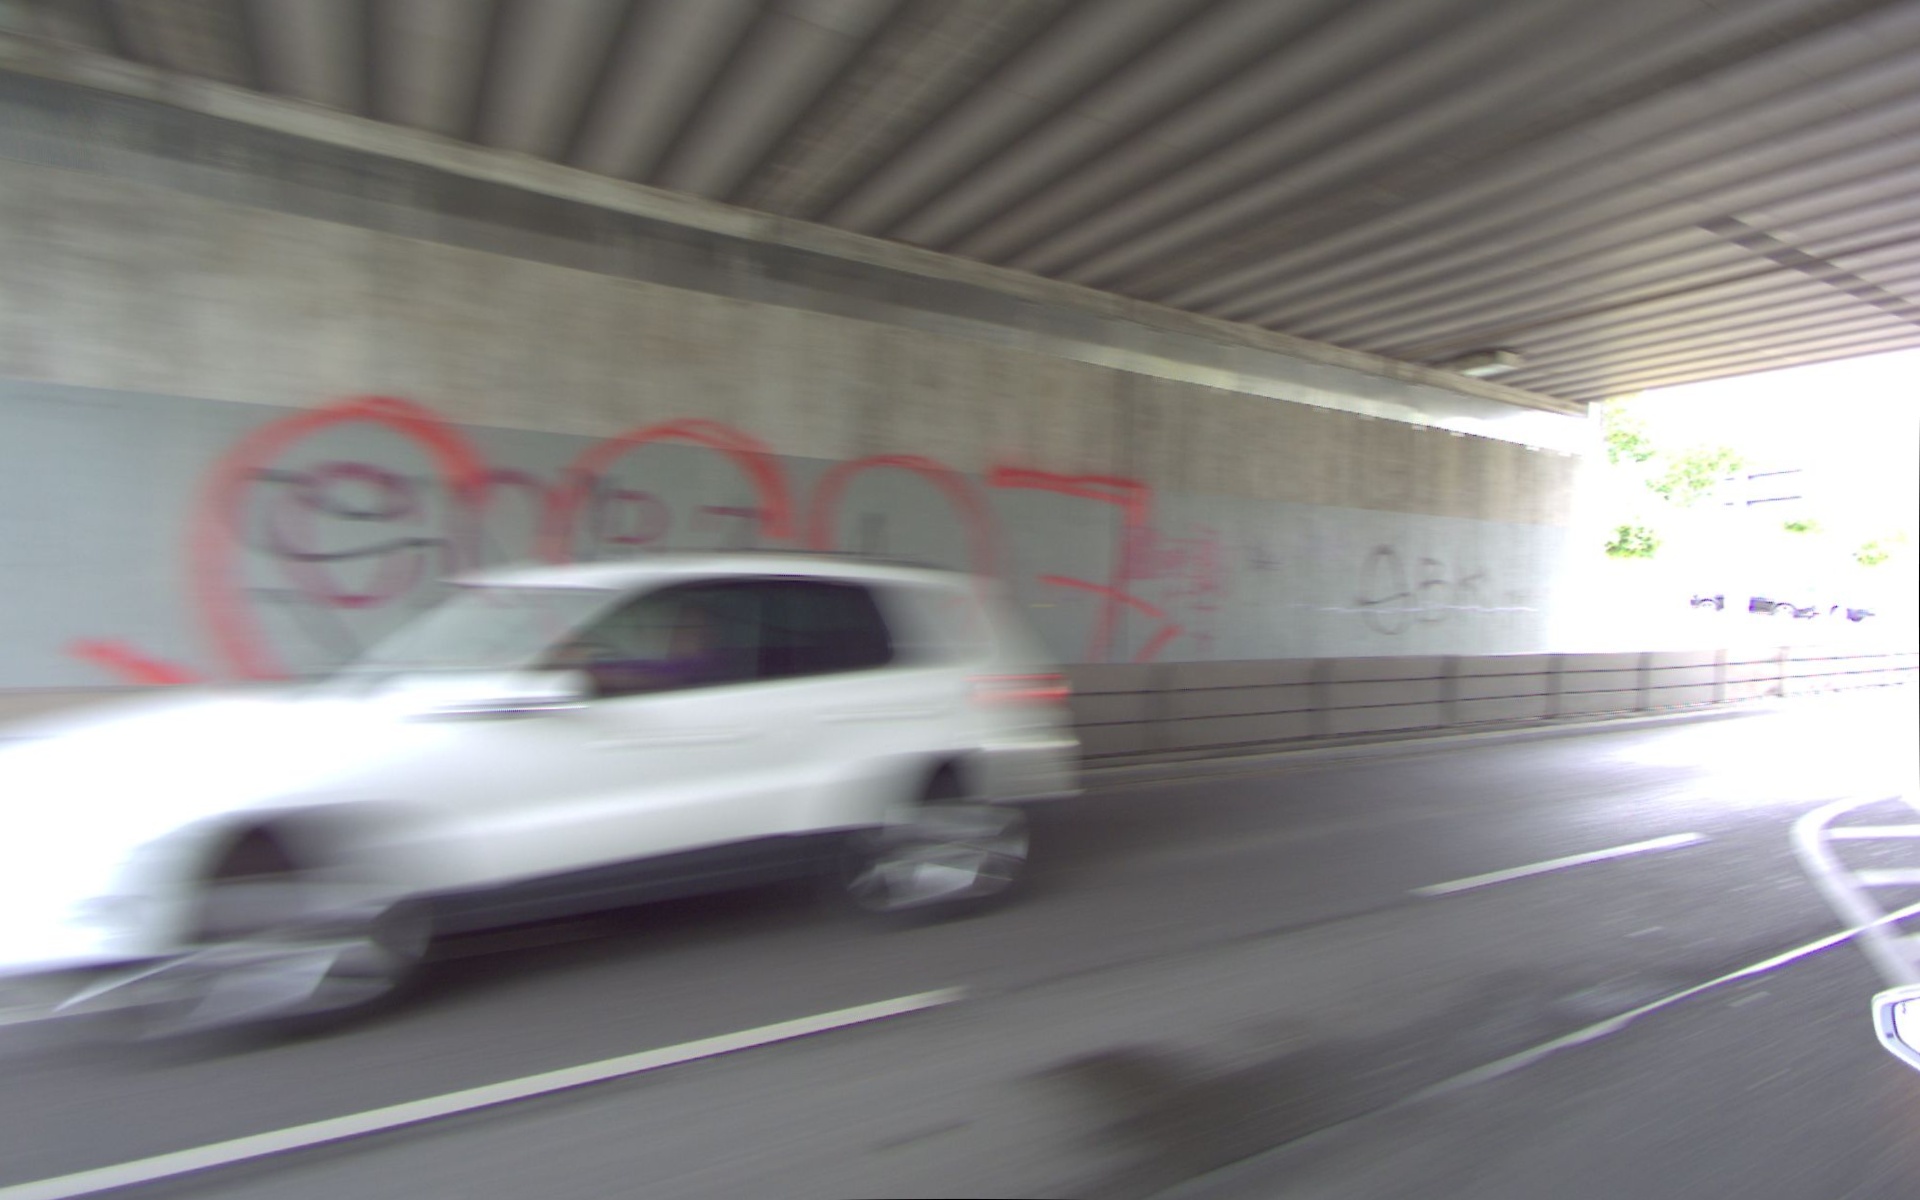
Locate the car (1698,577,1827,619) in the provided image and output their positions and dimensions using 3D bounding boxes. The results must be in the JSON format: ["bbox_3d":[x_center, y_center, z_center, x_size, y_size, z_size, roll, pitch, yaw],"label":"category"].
[{"bbox_3d":[34.919,-0.118,43.831,1.847,1.617,3.973,0,2,-26],"label":"car"}]

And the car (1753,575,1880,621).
[{"bbox_3d":[38.565,-0.106,45.314,1.978,1.974,3.964,0,1,-32],"label":"car"}]

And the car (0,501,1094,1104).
[{"bbox_3d":[-1.539,0.571,4.568,4.064,1.682,1.773,1,1,-33],"label":"car"}]
